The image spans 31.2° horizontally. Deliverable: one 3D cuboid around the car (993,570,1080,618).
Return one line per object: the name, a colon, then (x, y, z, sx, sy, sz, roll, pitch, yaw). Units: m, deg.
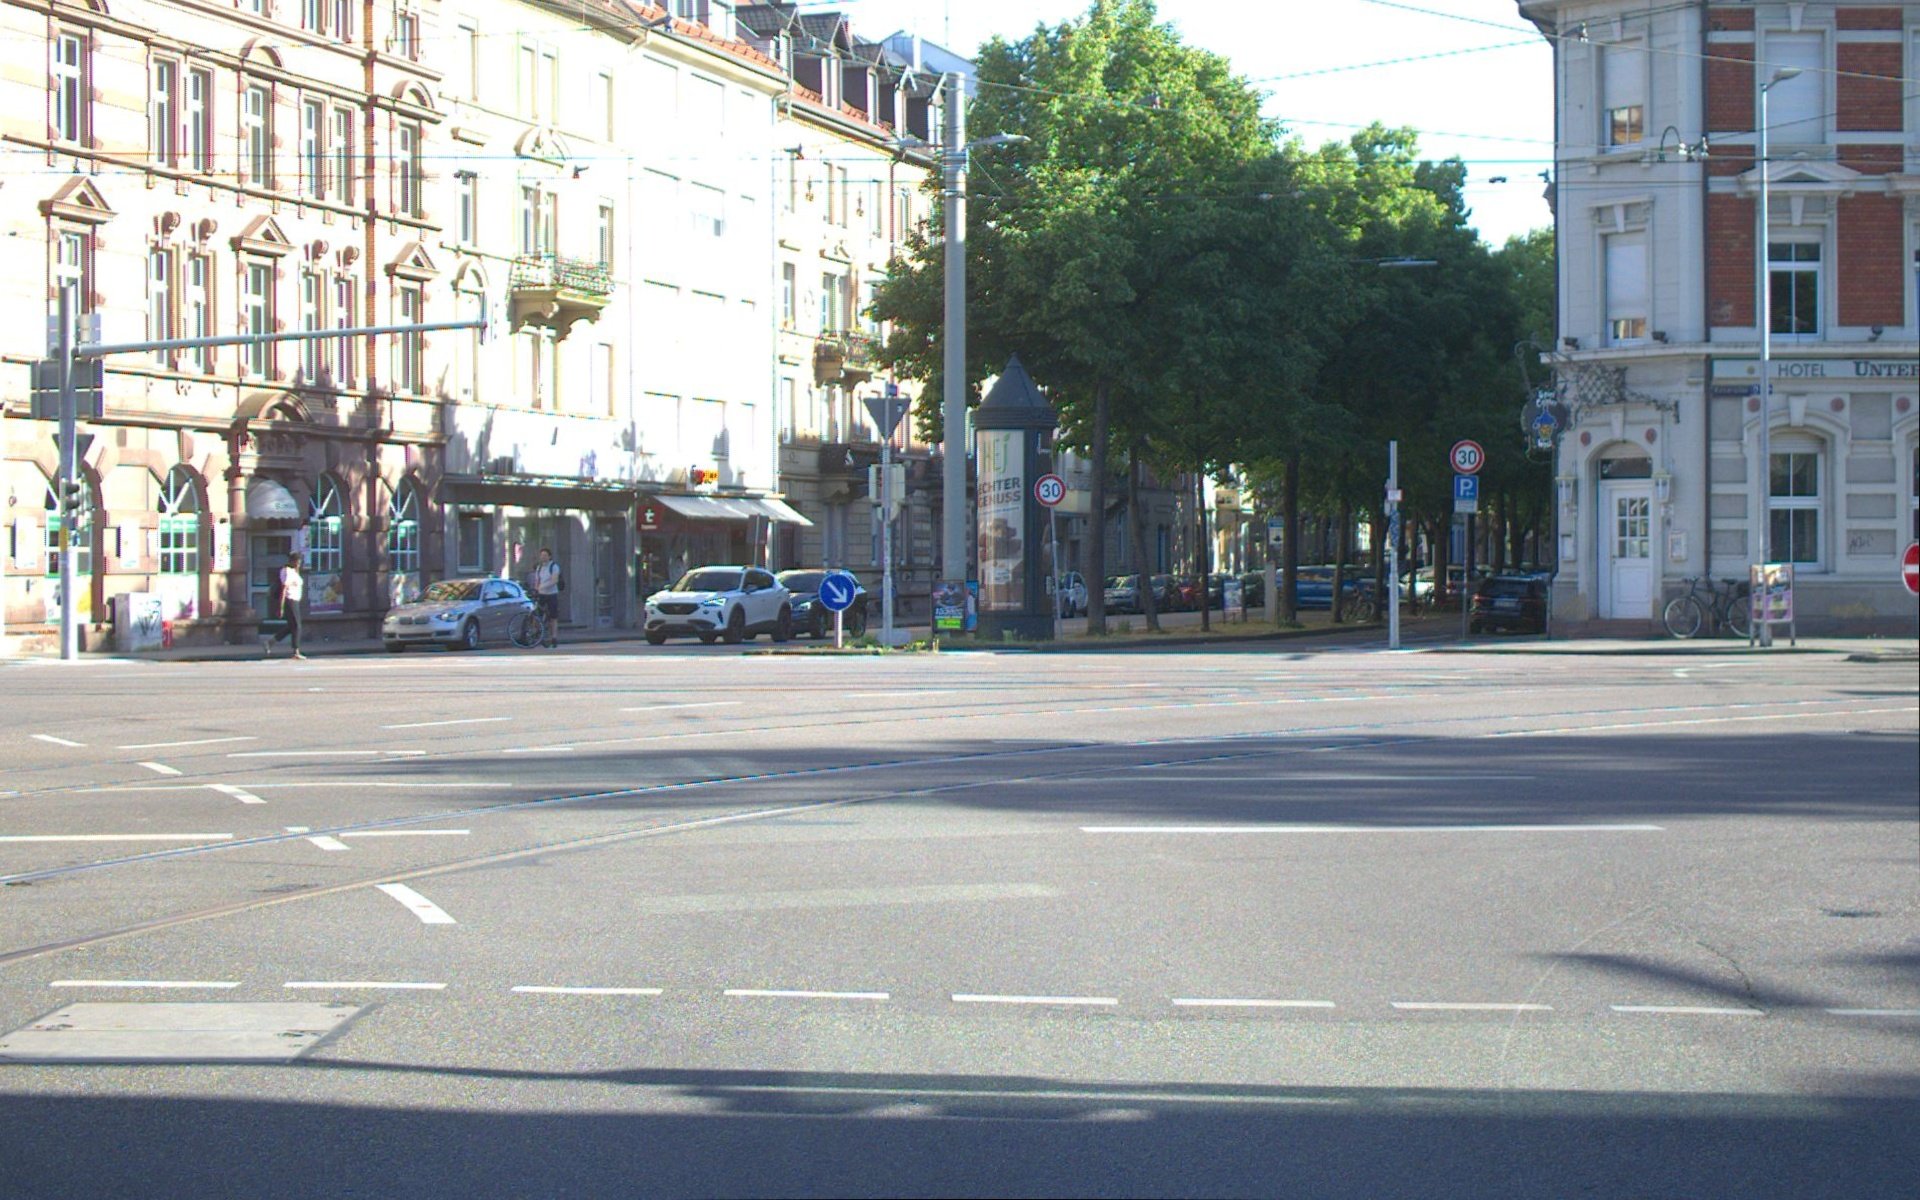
car: (2.494, -0.216, 110.984, 1.995, 1.481, 3.998, 0, 1, 14)

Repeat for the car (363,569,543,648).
car: (-9.849, 0.149, 67.072, 1.900, 1.450, 3.997, 0, 1, 17)

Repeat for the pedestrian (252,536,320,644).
pedestrian: (-10.998, -0.168, 56.108, 1.046, 1.738, 0.809, 0, 1, -14)

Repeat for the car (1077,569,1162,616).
car: (5.715, -0.291, 122.685, 1.995, 1.607, 4.387, 0, 1, 17)

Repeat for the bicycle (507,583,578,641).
bicycle: (-7.886, 0.218, 65.033, 0.680, 1.062, 2.124, 0, 1, 12)

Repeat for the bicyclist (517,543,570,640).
bicyclist: (-7.876, -0.162, 65.069, 0.679, 1.814, 1.070, 0, 1, 12)

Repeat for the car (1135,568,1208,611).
car: (8.042, -0.410, 130.475, 1.839, 1.547, 4.387, 0, 1, 17)

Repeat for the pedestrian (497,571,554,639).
pedestrian: (-9.923, 0.101, 78.567, 0.929, 1.530, 1.136, 0, 1, 14)

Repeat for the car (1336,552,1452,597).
car: (16.871, -1.003, 133.644, 3.993, 1.700, 1.997, 0, 1, 30)

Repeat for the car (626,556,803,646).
car: (-4.761, -0.016, 67.347, 1.995, 1.678, 4.387, 0, 1, 17)

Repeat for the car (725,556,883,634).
car: (-3.315, -0.133, 73.860, 1.995, 1.606, 4.387, 0, 1, 17)

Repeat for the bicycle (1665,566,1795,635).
bicycle: (12.859, 0.015, 57.410, 2.085, 1.120, 0.367, 1, 0, -4)

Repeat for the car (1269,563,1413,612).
car: (12.784, -0.429, 115.411, 4.382, 1.606, 1.997, 0, 1, 27)

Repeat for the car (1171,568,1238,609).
car: (9.709, -0.458, 136.352, 1.766, 1.544, 4.387, 0, 1, 16)

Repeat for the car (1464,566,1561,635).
car: (13.273, -0.004, 82.461, 1.995, 1.579, 3.998, 0, 1, 14)
